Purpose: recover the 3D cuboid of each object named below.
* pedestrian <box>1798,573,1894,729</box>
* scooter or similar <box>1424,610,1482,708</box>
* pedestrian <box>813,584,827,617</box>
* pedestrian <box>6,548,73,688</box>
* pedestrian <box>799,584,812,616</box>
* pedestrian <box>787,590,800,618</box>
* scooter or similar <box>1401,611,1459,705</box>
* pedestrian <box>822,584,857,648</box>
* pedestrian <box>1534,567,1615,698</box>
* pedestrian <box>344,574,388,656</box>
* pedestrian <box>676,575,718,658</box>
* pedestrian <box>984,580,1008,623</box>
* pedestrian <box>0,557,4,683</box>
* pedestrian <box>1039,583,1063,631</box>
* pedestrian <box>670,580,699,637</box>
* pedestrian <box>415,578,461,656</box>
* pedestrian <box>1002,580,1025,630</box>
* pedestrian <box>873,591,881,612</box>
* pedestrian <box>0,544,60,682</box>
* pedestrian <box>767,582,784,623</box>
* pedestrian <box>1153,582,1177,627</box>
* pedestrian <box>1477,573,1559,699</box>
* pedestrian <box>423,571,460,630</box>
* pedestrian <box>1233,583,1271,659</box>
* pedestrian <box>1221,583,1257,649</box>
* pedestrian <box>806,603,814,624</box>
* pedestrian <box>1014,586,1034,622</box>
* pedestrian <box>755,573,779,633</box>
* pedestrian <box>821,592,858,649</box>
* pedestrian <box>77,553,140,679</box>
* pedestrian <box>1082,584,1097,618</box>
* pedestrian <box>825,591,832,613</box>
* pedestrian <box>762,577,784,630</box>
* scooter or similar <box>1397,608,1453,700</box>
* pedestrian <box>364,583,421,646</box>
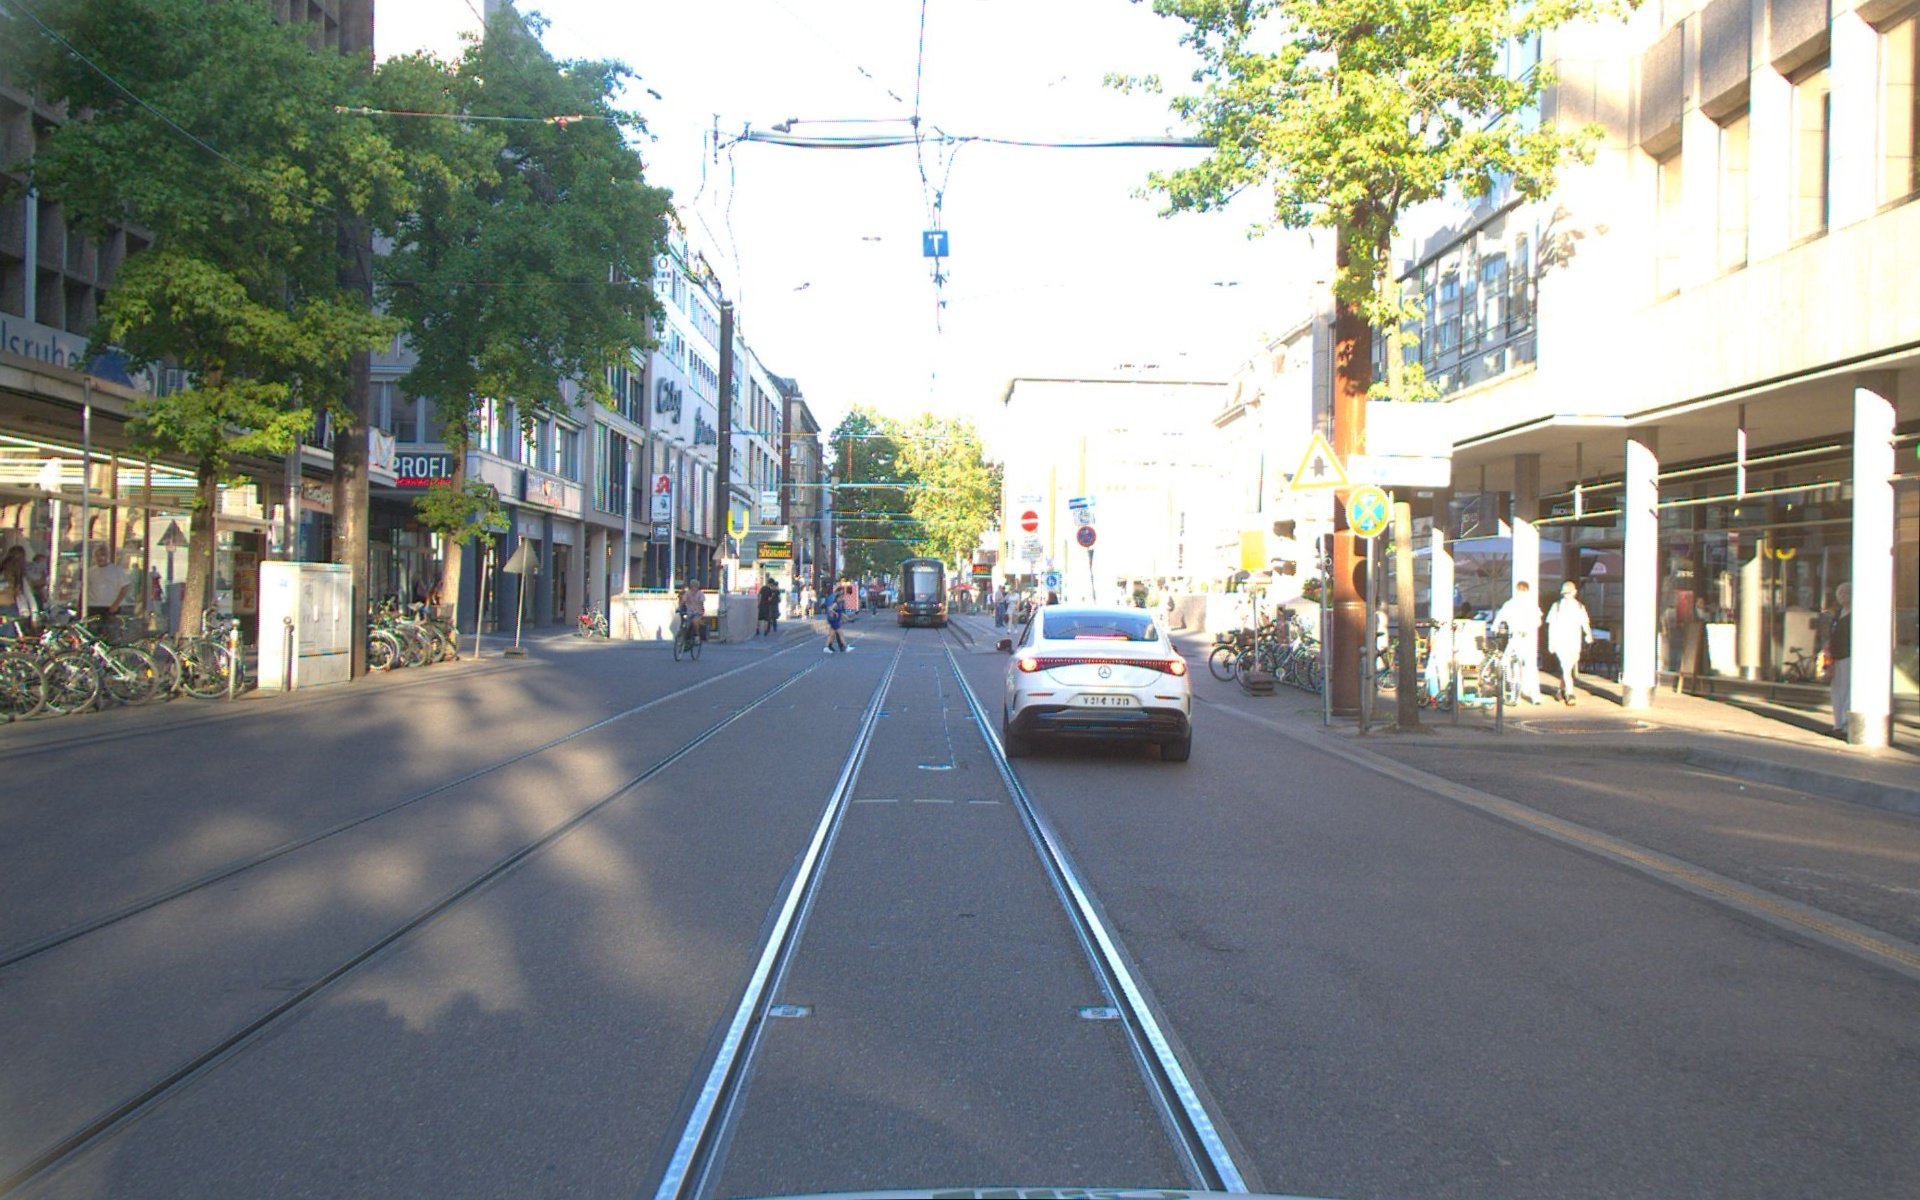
[{"bbox_3d":[9.821,0.553,18.359,0.624,1.682,0.781,1,0,0],"label":"pedestrian"},{"bbox_3d":[6.795,0.803,22.804,0.483,1.299,0.658,-1,0,-13],"label":"scooter or similar"},{"bbox_3d":[-7.129,0.021,84.334,0.647,1.627,0.573,0,0,-3],"label":"pedestrian"},{"bbox_3d":[-12.020,0.228,21.616,0.705,1.797,0.679,0,0,-26],"label":"pedestrian"},{"bbox_3d":[-7.875,0.008,84.236,0.647,1.627,0.573,0,0,-3],"label":"pedestrian"},{"bbox_3d":[-9.470,0.229,94.124,0.647,1.627,0.573,0,0,-3],"label":"pedestrian"},{"bbox_3d":[6.673,0.811,23.502,0.518,1.299,0.658,-1,0,-13],"label":"scooter or similar"},{"bbox_3d":[-3.318,0.433,45.664,0.886,1.728,0.848,0,0,-1],"label":"pedestrian"},{"bbox_3d":[8.936,0.461,24.074,0.687,1.844,1.033,-3,0,-2],"label":"pedestrian"},{"bbox_3d":[-13.192,0.331,36.740,0.718,1.792,0.808,0,0,-36],"label":"pedestrian"},{"bbox_3d":[-5.920,0.368,37.278,0.784,1.813,0.848,2,0,-3],"label":"pedestrian"},{"bbox_3d":[1.523,0.071,70.709,0.941,1.816,0.803,-1,0,-2],"label":"pedestrian"},{"bbox_3d":[-12.280,0.251,20.328,0.700,1.574,0.683,0,0,-7],"label":"pedestrian"},{"bbox_3d":[3.271,0.240,59.292,0.820,1.691,0.785,0,0,1],"label":"pedestrian"},{"bbox_3d":[-8.525,0.255,51.211,0.767,1.747,0.840,0,0,-4],"label":"pedestrian"},{"bbox_3d":[-11.244,0.354,35.650,0.734,1.651,0.980,0,0,-4],"label":"pedestrian"},{"bbox_3d":[1.862,0.157,57.575,0.731,1.728,0.840,0,0,-4],"label":"pedestrian"},{"bbox_3d":[-6.585,0.089,130.990,0.592,1.658,0.531,0,0,-1],"label":"pedestrian"},{"bbox_3d":[-11.578,0.156,20.311,0.700,1.668,0.683,0,0,-7],"label":"pedestrian"},{"bbox_3d":[-7.155,0.099,64.150,0.603,1.572,0.650,0,0,-4],"label":"pedestrian"},{"bbox_3d":[8.068,0.175,65.032,0.801,1.714,0.803,-1,0,-2],"label":"pedestrian"},{"bbox_3d":[8.189,0.518,24.305,0.881,1.775,0.689,-3,0,-2],"label":"pedestrian"},{"bbox_3d":[-15.436,0.010,49.265,0.806,1.736,0.980,0,0,-3],"label":"pedestrian"},{"bbox_3d":[7.047,0.503,39.955,0.733,1.816,0.766,-1,0,-2],"label":"pedestrian"},{"bbox_3d":[7.815,0.437,46.428,0.824,1.816,0.803,-1,0,-2],"label":"pedestrian"},{"bbox_3d":[-11.664,1.065,128.525,0.594,1.658,0.413,0,0,-17],"label":"pedestrian"},{"bbox_3d":[3.299,0.192,85.296,0.941,1.816,0.803,-1,0,-2],"label":"pedestrian"},{"bbox_3d":[-6.389,0.108,54.784,0.531,1.962,0.569,0,0,42],"label":"pedestrian"},{"bbox_3d":[-3.261,0.536,44.865,0.936,1.522,0.944,0,0,-1],"label":"pedestrian"},{"bbox_3d":[-12.308,0.224,23.924,0.776,1.797,0.533,0,0,-26],"label":"pedestrian"},{"bbox_3d":[6.918,0.064,88.315,0.712,1.817,0.707,1,0,-2],"label":"pedestrian"},{"bbox_3d":[-9.830,0.136,123.683,0.405,1.658,0.606,0,0,-1],"label":"pedestrian"},{"bbox_3d":[-6.360,0.116,56.133,0.538,1.791,0.520,0,0,27],"label":"pedestrian"},{"bbox_3d":[6.773,0.773,24.128,0.518,1.299,0.658,-1,0,-13],"label":"scooter or similar"},{"bbox_3d":[-14.532,0.354,42.361,0.961,1.589,1.010,1,0,38],"label":"pedestrian"}]
